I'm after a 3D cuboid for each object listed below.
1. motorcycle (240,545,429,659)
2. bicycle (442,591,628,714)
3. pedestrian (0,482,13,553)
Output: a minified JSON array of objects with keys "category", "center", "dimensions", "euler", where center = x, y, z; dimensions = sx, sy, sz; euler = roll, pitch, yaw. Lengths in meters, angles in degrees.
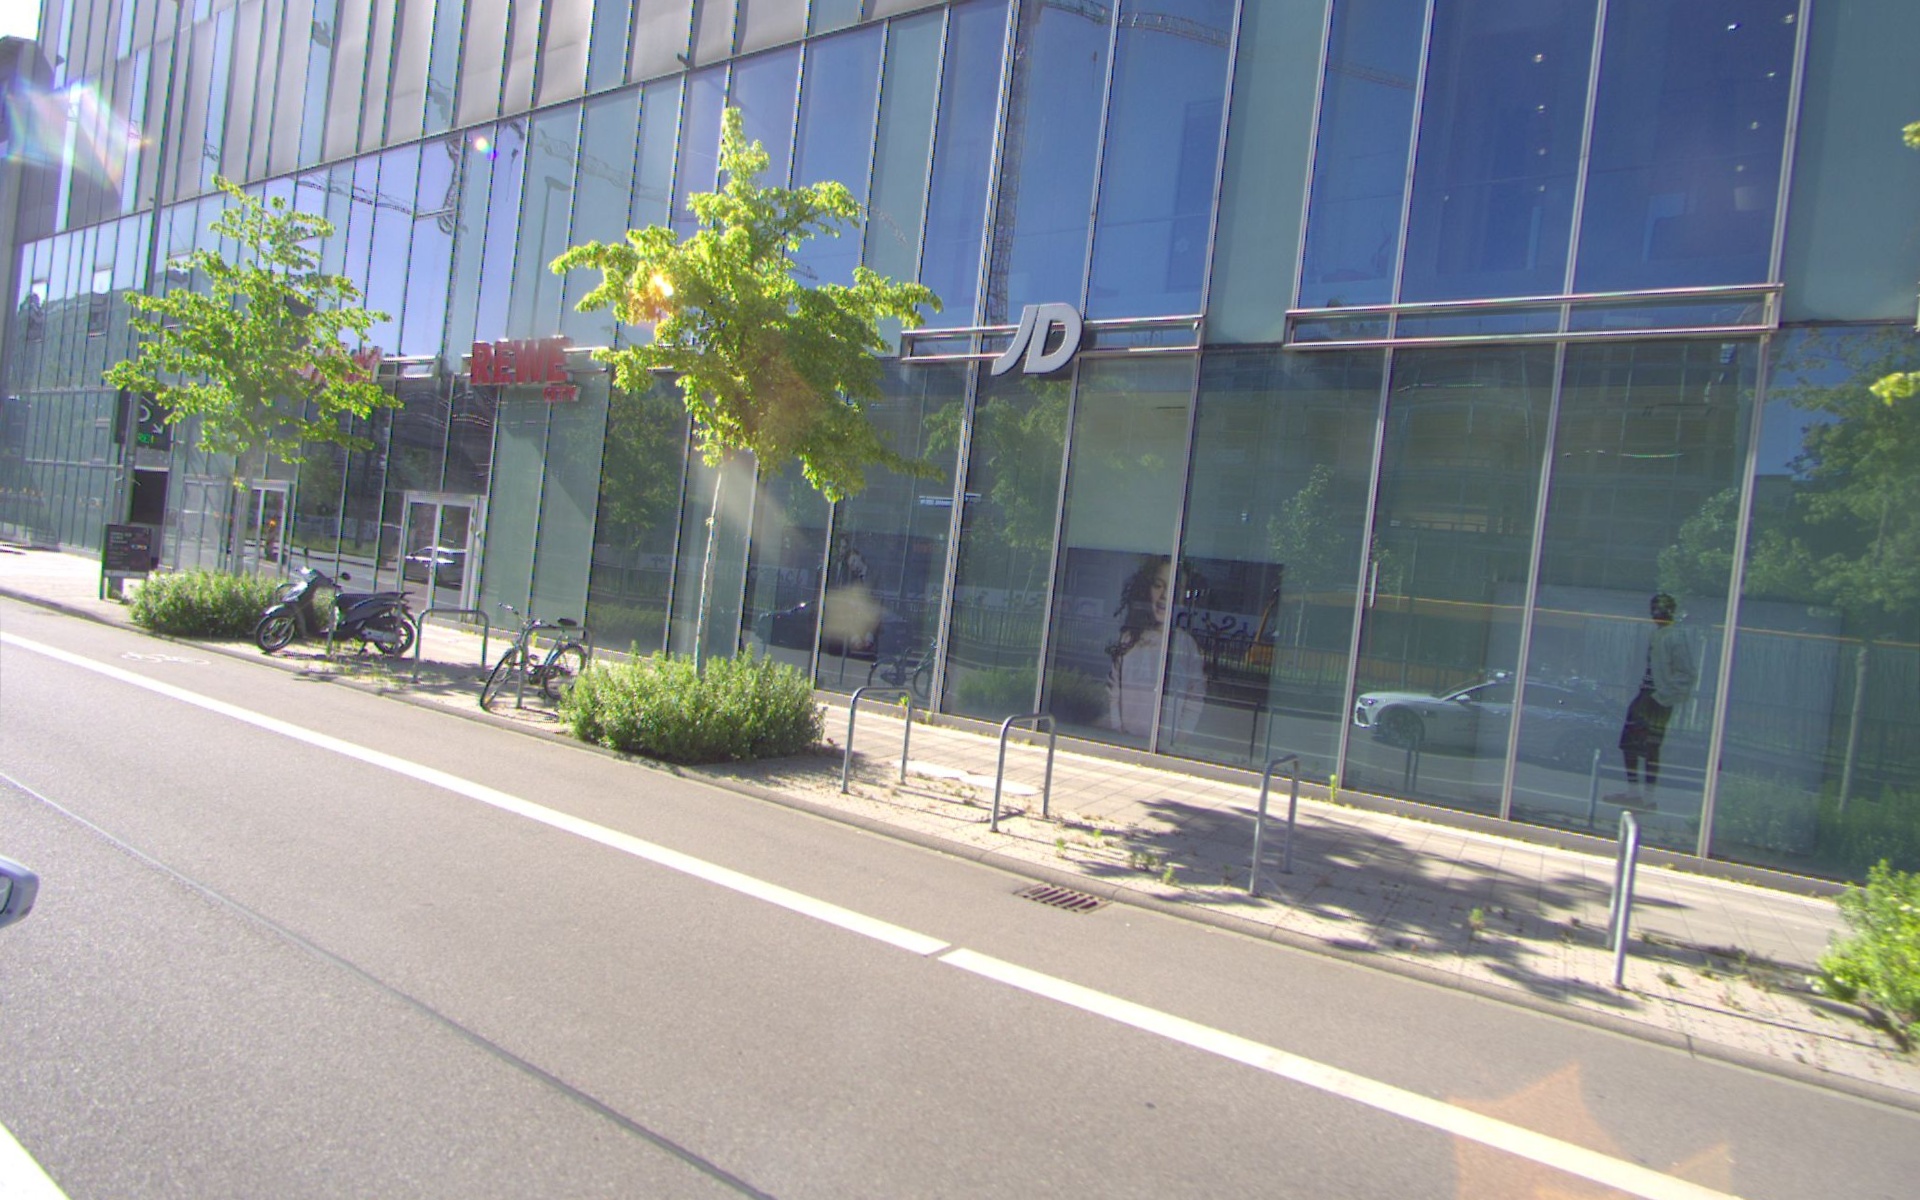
[{"category":"motorcycle","center":[-8.372,0.052,13.524],"dimensions":[2.058,1.372,0.646],"euler":[4,2,-35]},{"category":"bicycle","center":[-4.587,0.552,11.020],"dimensions":[0.659,1.166,1.886],"euler":[6,1,22]},{"category":"pedestrian","center":[-26.618,-2.304,27.118],"dimensions":[1.497,1.887,1.096],"euler":[7,1,31]}]
